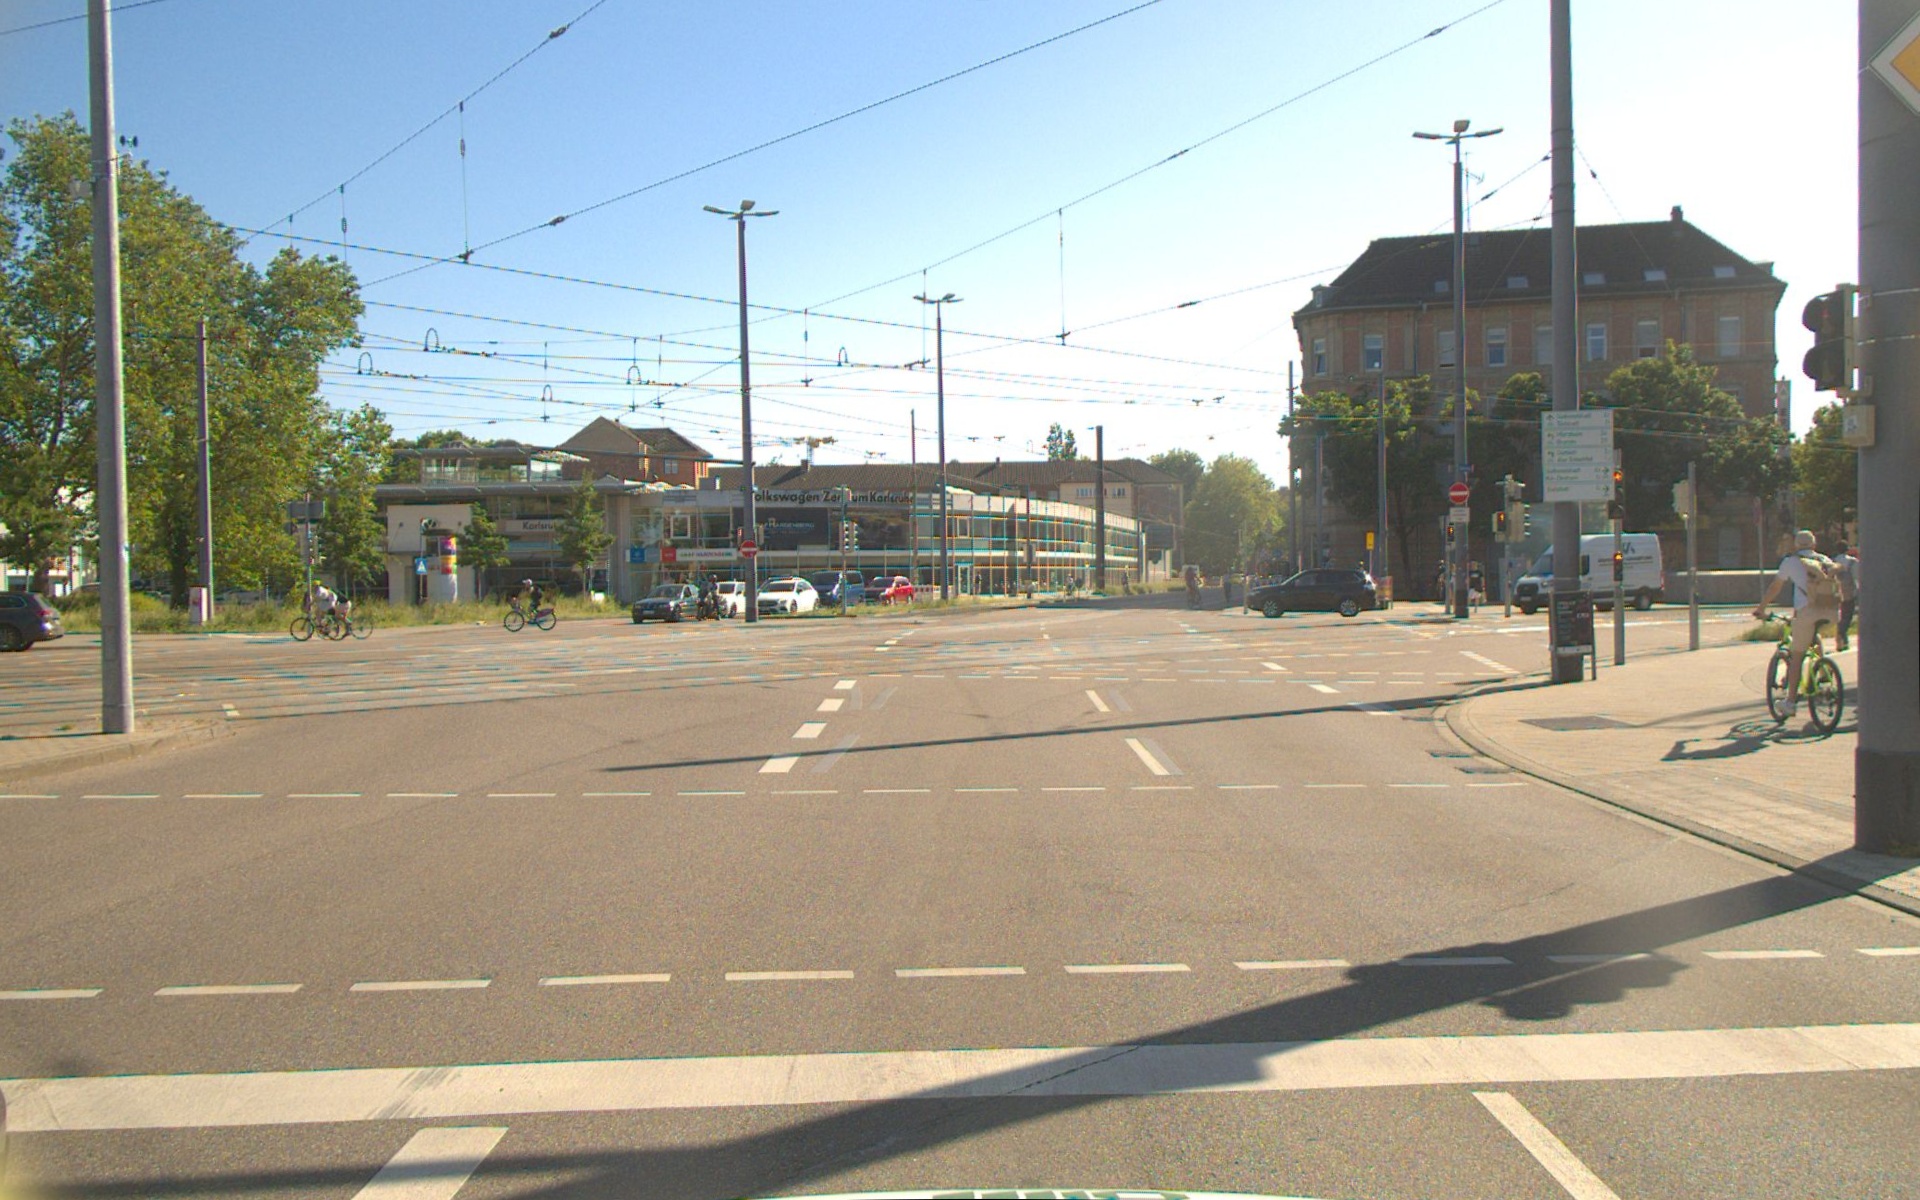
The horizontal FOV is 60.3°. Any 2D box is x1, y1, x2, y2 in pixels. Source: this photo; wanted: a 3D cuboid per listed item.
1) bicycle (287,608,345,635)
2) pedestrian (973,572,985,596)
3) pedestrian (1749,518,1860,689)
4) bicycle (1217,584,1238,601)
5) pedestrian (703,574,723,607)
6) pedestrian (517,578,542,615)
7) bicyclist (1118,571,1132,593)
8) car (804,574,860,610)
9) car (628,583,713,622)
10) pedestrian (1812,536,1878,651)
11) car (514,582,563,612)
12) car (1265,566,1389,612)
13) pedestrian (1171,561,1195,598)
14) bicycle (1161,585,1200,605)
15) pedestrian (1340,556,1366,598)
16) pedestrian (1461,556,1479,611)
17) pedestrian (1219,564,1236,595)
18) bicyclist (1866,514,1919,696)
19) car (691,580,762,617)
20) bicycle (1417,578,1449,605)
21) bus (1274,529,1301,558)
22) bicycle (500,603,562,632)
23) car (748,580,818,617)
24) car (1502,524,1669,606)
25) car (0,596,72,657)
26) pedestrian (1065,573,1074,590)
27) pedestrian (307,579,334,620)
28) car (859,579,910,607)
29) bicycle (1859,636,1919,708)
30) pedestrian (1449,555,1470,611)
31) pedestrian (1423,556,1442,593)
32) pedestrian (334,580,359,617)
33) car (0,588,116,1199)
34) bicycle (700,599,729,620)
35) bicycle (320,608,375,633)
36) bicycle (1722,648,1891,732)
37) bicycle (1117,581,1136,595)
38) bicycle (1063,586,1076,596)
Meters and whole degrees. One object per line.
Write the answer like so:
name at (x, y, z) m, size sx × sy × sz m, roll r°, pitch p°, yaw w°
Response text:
bicycle at (-19.633, 0.644, 50.428) m, size 1.607 × 0.772 × 0.421 m, roll -1°, pitch 1°, yaw -24°
pedestrian at (1.315, -1.112, 115.874) m, size 0.533 × 1.718 × 0.627 m, roll -1°, pitch 0°, yaw 37°
pedestrian at (8.092, 0.023, 15.873) m, size 0.538 × 1.590 × 0.856 m, roll -1°, pitch 0°, yaw -8°
bicycle at (13.806, -0.383, 85.397) m, size 0.727 × 0.885 × 1.932 m, roll -1°, pitch 1°, yaw 19°
pedestrian at (-9.189, -0.348, 61.540) m, size 0.413 × 1.225 × 0.750 m, roll -1°, pitch 0°, yaw 16°
pedestrian at (-14.514, -0.105, 55.721) m, size 0.782 × 1.225 × 0.557 m, roll -1°, pitch 0°, yaw -18°
bicyclist at (12.683, -1.398, 126.839) m, size 0.793 × 1.652 × 0.928 m, roll -1°, pitch 0°, yaw 23°
car at (-6.177, -0.409, 80.177) m, size 1.591 × 1.722 × 3.689 m, roll -1°, pitch 1°, yaw 14°
car at (-10.824, 0.068, 62.033) m, size 1.667 × 1.378 × 3.703 m, roll -1°, pitch 1°, yaw 16°
pedestrian at (14.917, -0.120, 27.869) m, size 0.880 × 1.892 × 0.924 m, roll -1°, pitch 1°, yaw 34°
car at (-25.660, -0.182, 100.860) m, size 1.926 × 1.735 × 4.083 m, roll -1°, pitch 1°, yaw -1°
car at (12.850, -0.390, 57.986) m, size 4.160 × 1.529 × 1.706 m, roll -1°, pitch 1°, yaw 12°
pedestrian at (10.053, -0.906, 74.527) m, size 0.792 × 1.660 × 0.713 m, roll 0°, pitch 0°, yaw 45°
bicycle at (9.906, -0.238, 74.297) m, size 0.733 × 0.885 × 1.918 m, roll 0°, pitch 1°, yaw 44°
pedestrian at (15.912, -0.929, 67.005) m, size 0.713 × 1.660 × 0.746 m, roll -1°, pitch 0°, yaw -44°
pedestrian at (19.187, -0.635, 62.208) m, size 0.453 × 2.049 × 0.449 m, roll -1°, pitch 1°, yaw -18°
pedestrian at (13.795, -1.062, 85.402) m, size 0.730 × 1.549 × 0.718 m, roll -1°, pitch 0°, yaw 19°
bicyclist at (9.914, 0.035, 16.904) m, size 0.732 × 1.809 × 0.923 m, roll -2°, pitch 0°, yaw -4°
car at (-9.580, -0.094, 68.002) m, size 1.591 × 1.448 × 3.689 m, roll -1°, pitch 1°, yaw 14°
bicycle at (20.327, -0.387, 71.039) m, size 0.538 × 1.139 × 2.008 m, roll 0°, pitch 1°, yaw 40°
bus at (49.787, -8.485, 251.255) m, size 3.754 × 3.670 × 24.887 m, roll 1°, pitch 0°, yaw 12°
bicycle at (-14.463, 0.572, 55.736) m, size 1.974 × 0.929 × 0.559 m, roll -1°, pitch 1°, yaw -19°
car at (-7.034, -0.075, 66.151) m, size 1.591 × 1.406 × 3.741 m, roll -1°, pitch 1°, yaw 14°
car at (22.205, -1.258, 58.703) m, size 5.830 × 2.792 × 2.127 m, roll -1°, pitch 1°, yaw -26°
car at (-24.210, 0.665, 40.420) m, size 4.149 × 1.425 × 1.848 m, roll -1°, pitch 1°, yaw -20°
pedestrian at (7.806, -1.313, 117.906) m, size 0.414 × 1.225 × 0.680 m, roll -1°, pitch 0°, yaw 25°
pedestrian at (-19.523, -0.006, 50.478) m, size 0.737 × 1.225 × 0.421 m, roll -1°, pitch 0°, yaw -24°
car at (-3.975, -0.386, 87.330) m, size 1.591 × 1.388 × 3.688 m, roll -1°, pitch 1°, yaw 16°
bicycle at (9.845, 0.733, 16.824) m, size 0.526 × 0.667 × 1.466 m, roll -2°, pitch 1°, yaw -3°
pedestrian at (18.624, -0.630, 61.626) m, size 0.564 × 2.049 × 0.449 m, roll -1°, pitch 1°, yaw -18°
pedestrian at (20.287, -1.092, 70.992) m, size 0.538 × 1.543 × 0.702 m, roll 0°, pitch 0°, yaw 40°
pedestrian at (-19.276, -0.048, 51.979) m, size 0.736 × 1.146 × 0.421 m, roll -1°, pitch 0°, yaw -21°
car at (-2.462, 0.715, 1.098) m, size 1.675 × 1.470 × 4.032 m, roll 1°, pitch 0°, yaw 1°
bicycle at (-9.154, 0.343, 61.615) m, size 0.413 × 0.730 × 1.636 m, roll -1°, pitch 1°, yaw 16°
bicycle at (-19.247, 0.651, 51.991) m, size 1.605 × 0.730 × 0.421 m, roll -1°, pitch 1°, yaw -21°
bicycle at (8.133, 0.844, 15.970) m, size 0.527 × 0.667 × 1.722 m, roll -4°, pitch 1°, yaw -8°
bicycle at (12.801, -0.945, 127.111) m, size 0.793 × 1.063 × 2.126 m, roll -1°, pitch 1°, yaw 23°
bicycle at (7.812, -0.633, 117.899) m, size 0.414 × 0.730 × 1.474 m, roll -1°, pitch 1°, yaw 25°
